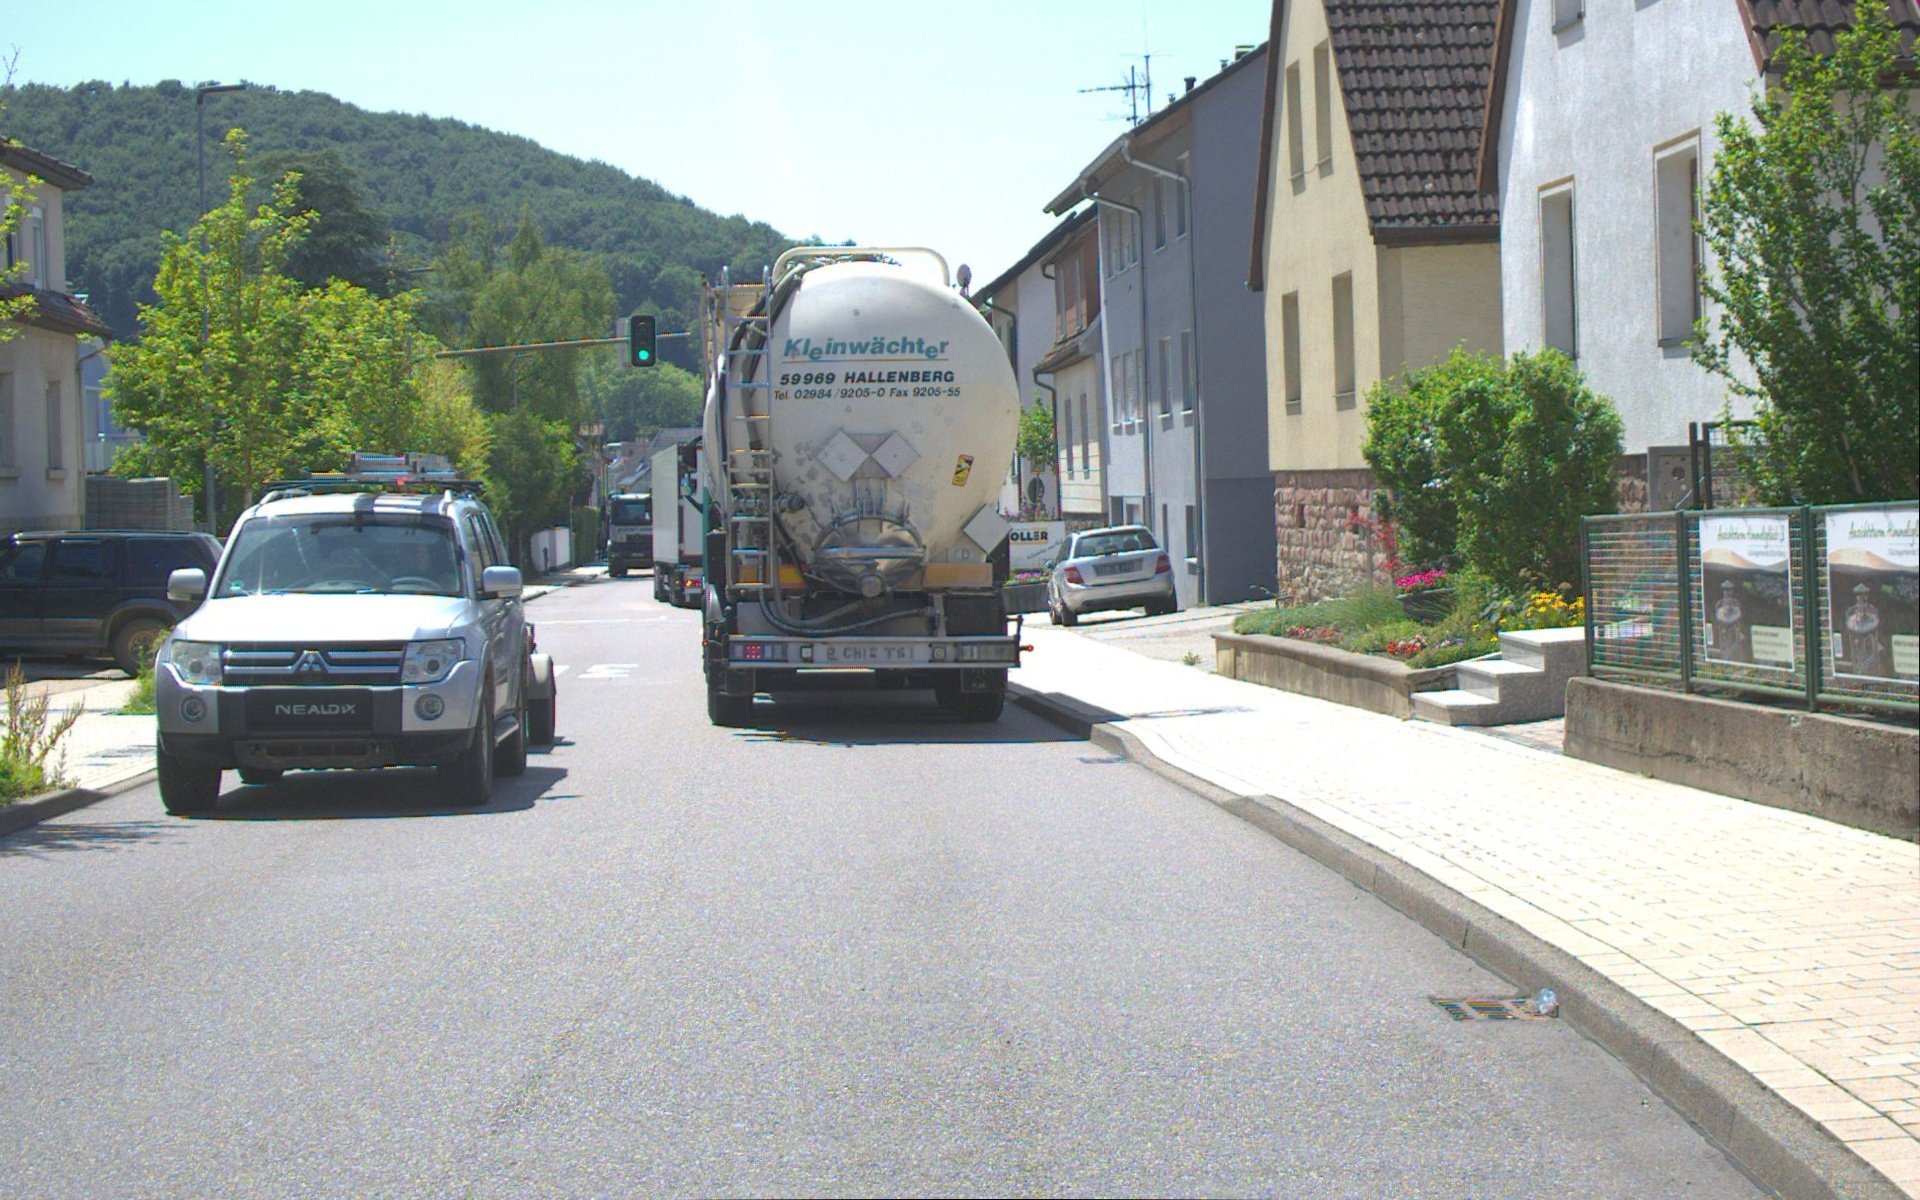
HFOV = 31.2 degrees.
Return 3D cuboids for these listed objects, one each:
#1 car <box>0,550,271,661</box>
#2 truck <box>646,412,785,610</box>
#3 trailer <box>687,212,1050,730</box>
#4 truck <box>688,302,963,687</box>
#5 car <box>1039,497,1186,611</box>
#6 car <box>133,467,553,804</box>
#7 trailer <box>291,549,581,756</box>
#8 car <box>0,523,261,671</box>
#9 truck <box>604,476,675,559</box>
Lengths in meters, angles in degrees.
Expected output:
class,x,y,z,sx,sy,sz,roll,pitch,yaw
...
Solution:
class,x,y,z,sx,sy,sz,roll,pitch,yaw
car,-11.229,0.066,46.424,3.546,1.434,1.696,0,1,31
truck,-6.341,-2.100,87.604,2.846,4.663,11.341,1,0,-7
trailer,-1.089,-1.079,31.698,2.796,3.987,10.325,0,1,-4
truck,-1.598,-1.125,38.305,2.808,3.923,6.100,0,1,-4
car,2.322,-0.718,53.390,1.791,1.536,4.520,-5,1,-2
car,-3.670,0.168,21.233,1.889,1.854,4.578,0,1,-2
trailer,-3.812,0.324,25.627,1.574,1.391,4.403,-1,1,-1
car,-10.943,-0.045,42.249,4.394,1.744,1.878,-1,1,-4
truck,-13.511,-3.457,145.447,2.728,3.360,8.636,0,1,-4
